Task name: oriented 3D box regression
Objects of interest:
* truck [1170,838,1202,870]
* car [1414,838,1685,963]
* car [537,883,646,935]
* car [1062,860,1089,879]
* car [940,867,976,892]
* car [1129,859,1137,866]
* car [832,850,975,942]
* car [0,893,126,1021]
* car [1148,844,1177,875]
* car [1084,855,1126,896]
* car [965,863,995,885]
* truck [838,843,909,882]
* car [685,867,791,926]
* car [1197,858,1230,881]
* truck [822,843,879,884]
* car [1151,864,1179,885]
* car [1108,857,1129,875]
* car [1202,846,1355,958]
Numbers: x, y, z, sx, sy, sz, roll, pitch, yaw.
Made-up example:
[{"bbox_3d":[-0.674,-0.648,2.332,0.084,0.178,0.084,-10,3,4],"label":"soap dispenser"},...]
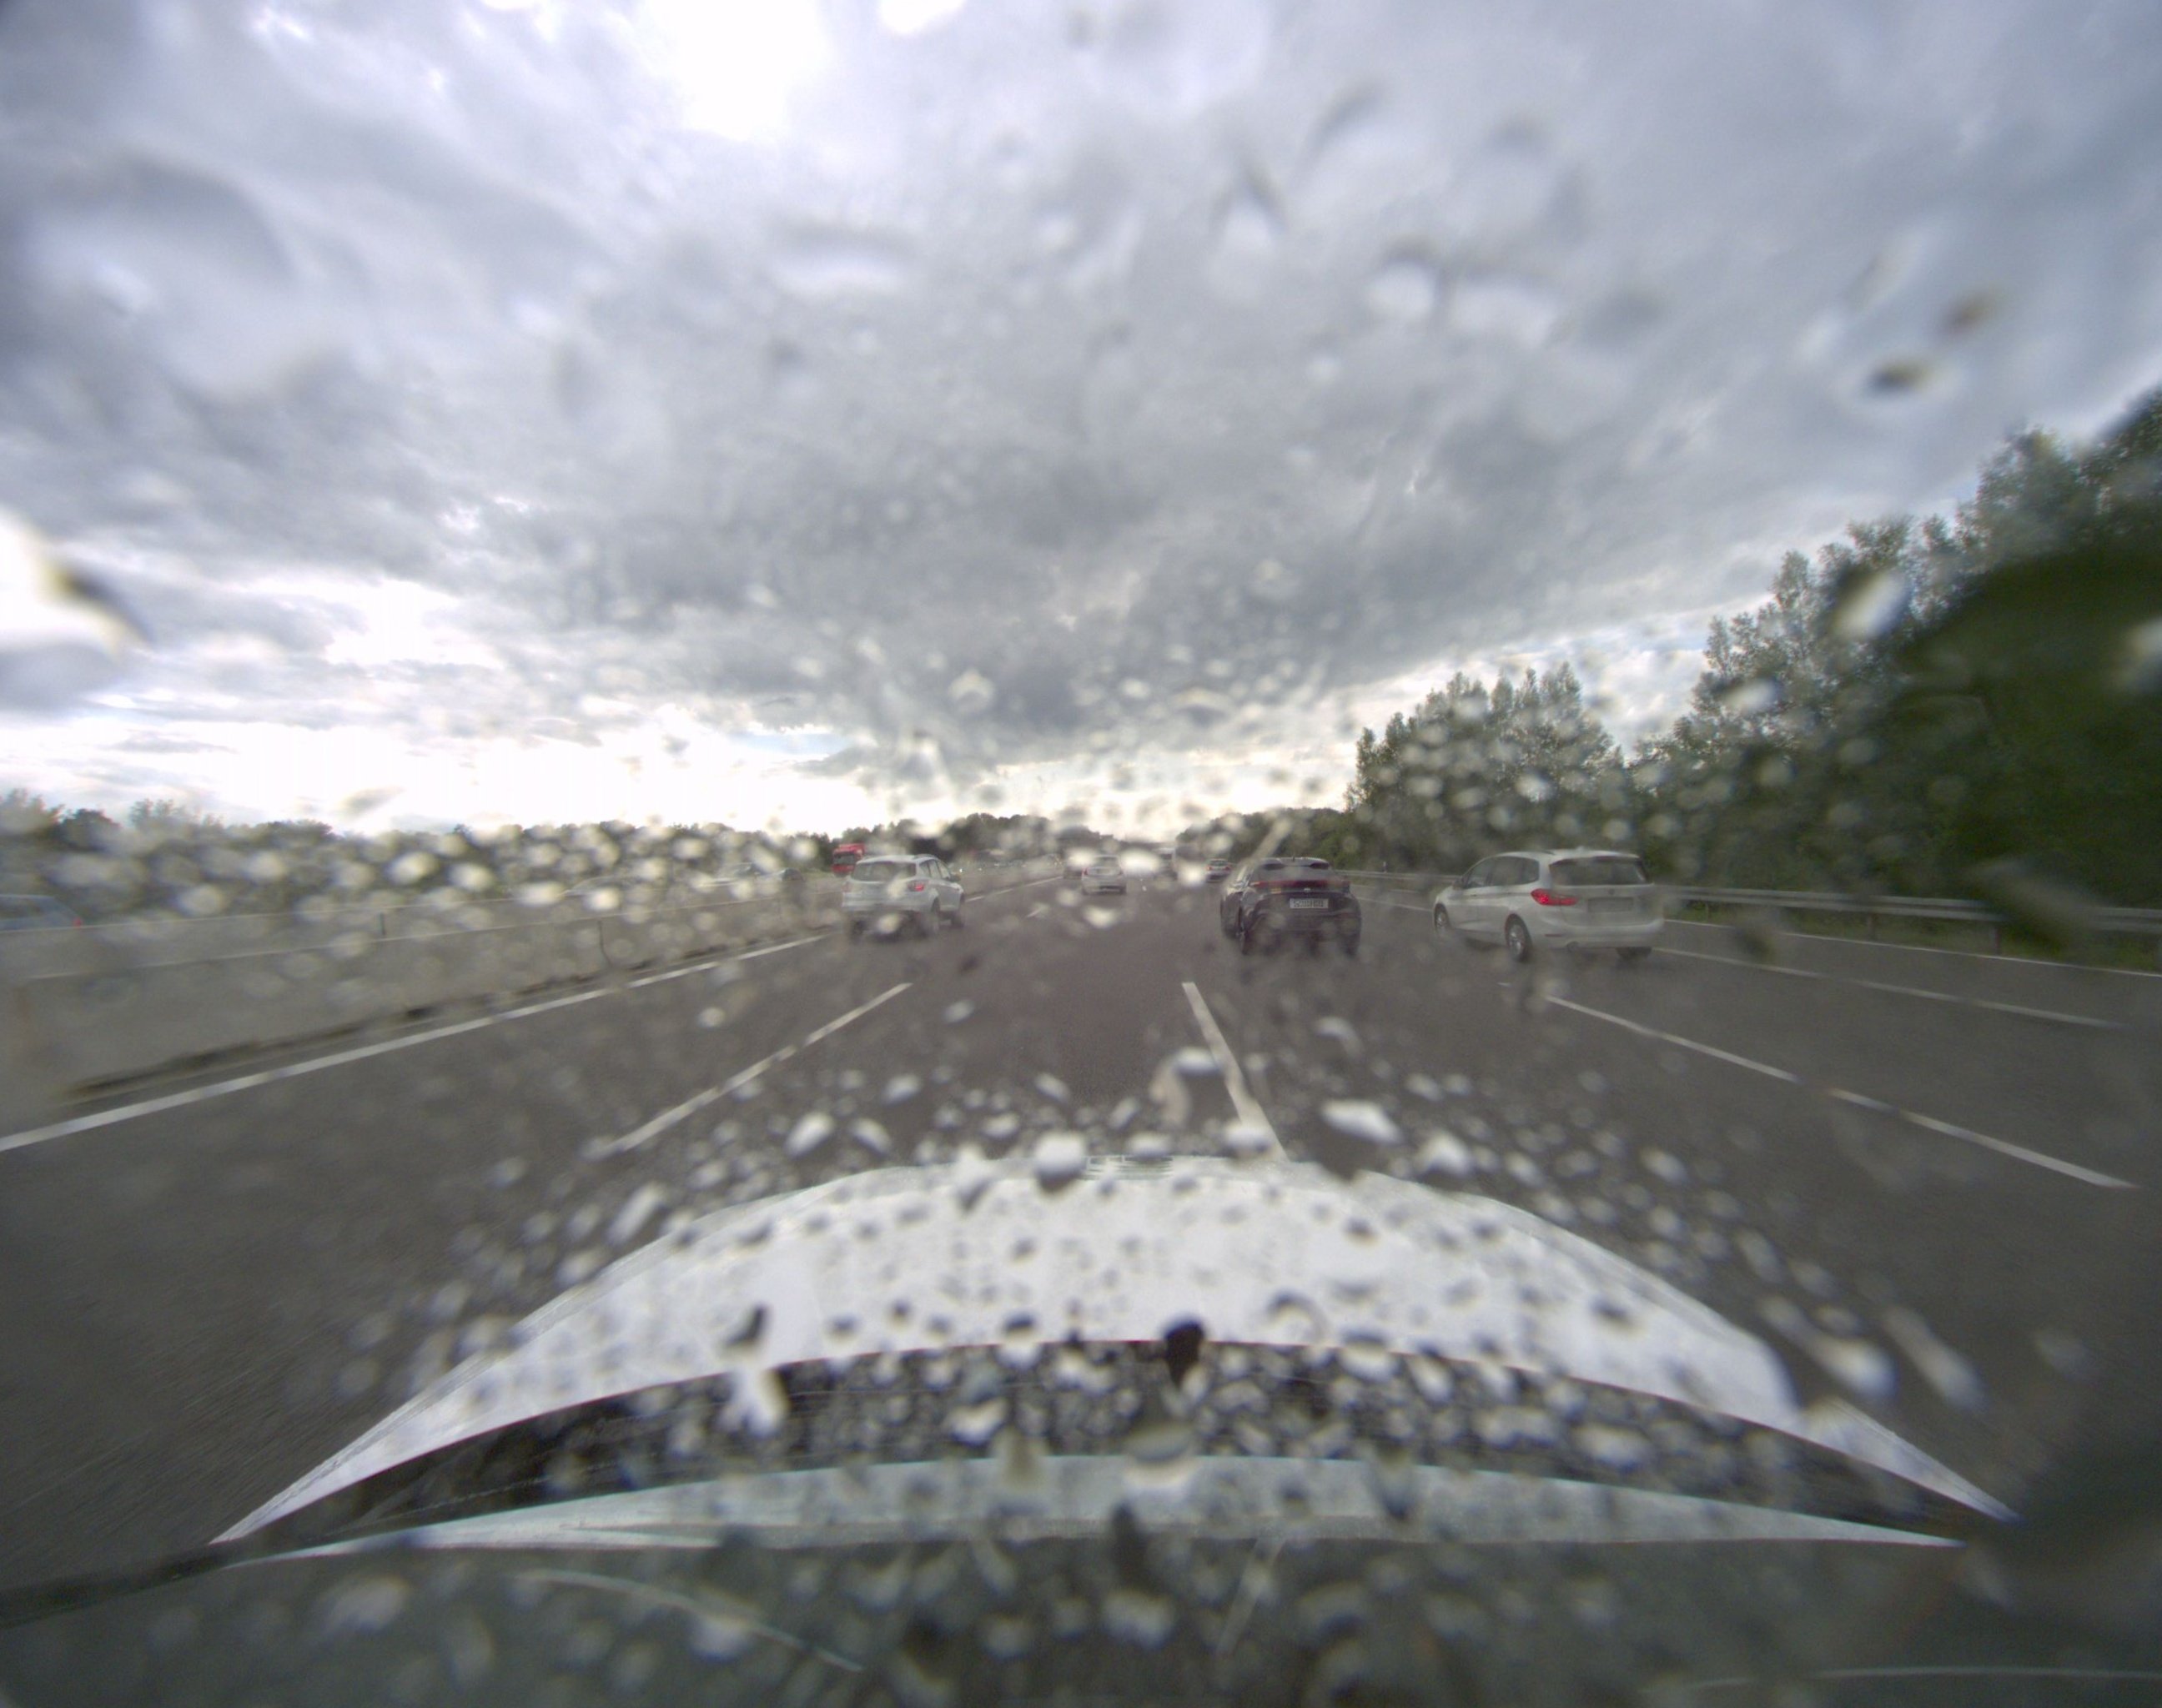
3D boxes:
[{"bbox_3d":[12.742,0.024,99.531,3.119,3.709,9.857,-1,0,4],"label":"truck"},{"bbox_3d":[7.076,0.626,12.985,1.803,1.599,4.699,-1,0,3],"label":"car"},{"bbox_3d":[-21.229,2.339,35.560,1.985,2.014,4.232,-1,-1,4],"label":"car"},{"bbox_3d":[-0.441,1.278,68.238,1.772,1.481,4.359,-1,0,5],"label":"car"},{"bbox_3d":[-10.341,2.137,68.675,1.985,1.967,4.701,-1,0,4],"label":"car"},{"bbox_3d":[12.172,1.944,190.889,1.874,1.686,4.002,-1,0,2],"label":"car"},{"bbox_3d":[-3.660,0.802,17.742,1.808,1.689,4.855,-1,0,2],"label":"car"},{"bbox_3d":[-18.656,1.731,12.791,1.842,2.014,4.539,-1,-1,2],"label":"car"},{"bbox_3d":[8.025,0.553,80.634,2.556,2.895,7.541,-1,0,4],"label":"car"},{"bbox_3d":[1.114,0.941,37.001,1.774,1.716,4.355,-1,0,2],"label":"car"},{"bbox_3d":[-9.770,1.893,78.924,1.985,1.967,4.701,-1,0,4],"label":"car"},{"bbox_3d":[-21.494,0.888,85.488,3.135,3.745,13.311,-1,0,4],"label":"truck"},{"bbox_3d":[-12.846,1.534,30.800,1.985,2.014,4.268,-1,-1,3],"label":"car"},{"bbox_3d":[8.635,0.996,53.460,1.787,1.477,4.042,-1,0,4],"label":"car"},{"bbox_3d":[-21.971,0.865,78.018,3.136,3.712,6.325,-1,-1,4],"label":"truck"},{"bbox_3d":[6.041,1.436,59.153,1.876,1.407,4.286,-1,0,4],"label":"car"},{"bbox_3d":[3.630,1.155,79.200,1.874,1.686,4.002,-1,0,2],"label":"car"},{"bbox_3d":[3.225,0.718,14.224,1.773,1.613,4.601,-1,0,3],"label":"car"}]
